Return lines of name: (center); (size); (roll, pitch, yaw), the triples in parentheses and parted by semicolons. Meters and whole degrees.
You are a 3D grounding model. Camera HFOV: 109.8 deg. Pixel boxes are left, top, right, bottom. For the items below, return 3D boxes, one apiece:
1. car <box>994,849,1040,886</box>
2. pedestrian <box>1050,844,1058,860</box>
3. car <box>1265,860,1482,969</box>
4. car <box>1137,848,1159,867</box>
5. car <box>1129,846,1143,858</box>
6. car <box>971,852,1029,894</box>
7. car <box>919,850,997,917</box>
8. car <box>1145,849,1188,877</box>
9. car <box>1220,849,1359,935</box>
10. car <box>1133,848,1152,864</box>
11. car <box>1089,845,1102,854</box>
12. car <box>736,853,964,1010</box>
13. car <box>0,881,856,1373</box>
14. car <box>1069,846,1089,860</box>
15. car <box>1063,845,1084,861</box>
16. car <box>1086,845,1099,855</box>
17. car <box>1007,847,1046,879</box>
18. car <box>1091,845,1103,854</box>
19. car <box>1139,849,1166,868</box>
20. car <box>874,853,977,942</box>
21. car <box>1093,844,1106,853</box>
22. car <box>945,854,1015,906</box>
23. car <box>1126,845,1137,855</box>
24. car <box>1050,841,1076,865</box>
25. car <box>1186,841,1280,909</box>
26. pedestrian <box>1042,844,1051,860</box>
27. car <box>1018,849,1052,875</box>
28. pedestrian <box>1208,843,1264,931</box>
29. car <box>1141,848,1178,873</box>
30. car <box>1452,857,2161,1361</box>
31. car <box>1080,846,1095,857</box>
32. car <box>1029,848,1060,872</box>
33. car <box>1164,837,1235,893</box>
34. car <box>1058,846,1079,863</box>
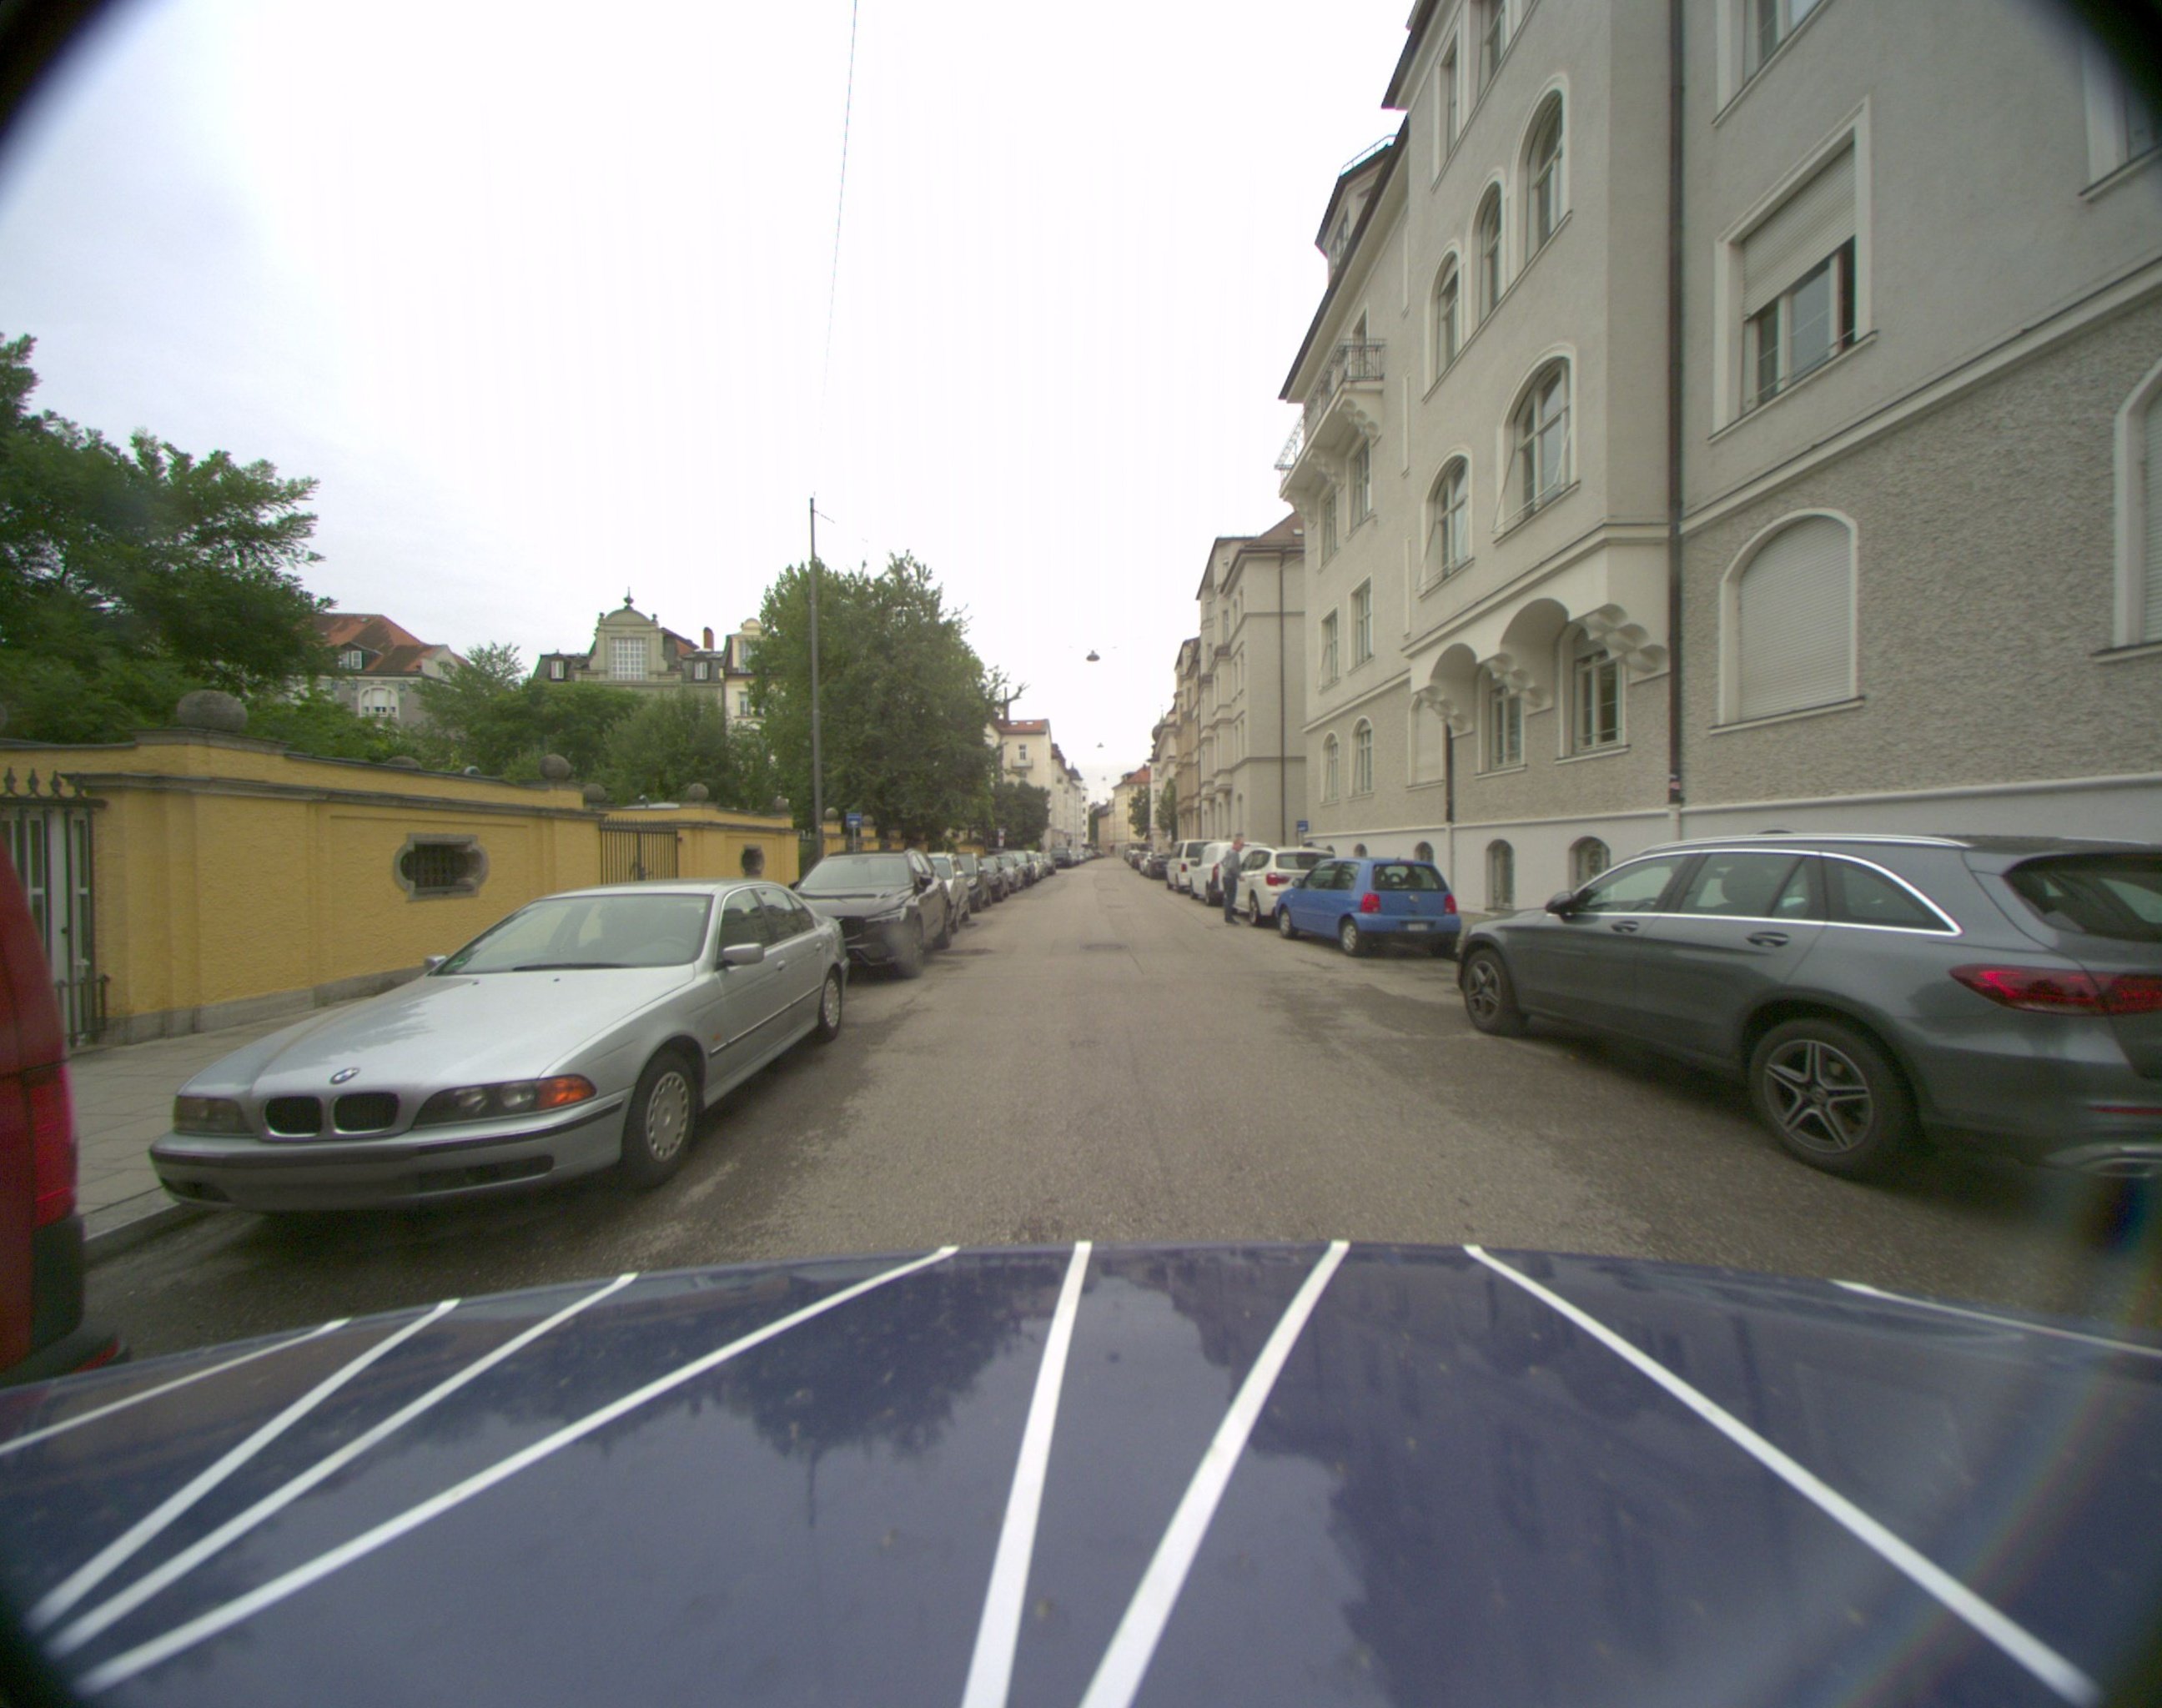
car: (-2.892, 0.567, 35.309); (1.717, 1.562, 4.690); (0, 1, 0)
pedestrian: (-3.020, -0.244, 84.581); (0.876, 1.746, 1.052); (-1, 1, 1)
car: (4.458, 0.843, 12.217); (1.697, 1.406, 3.659); (0, 1, -8)
car: (5.473, 0.244, 62.630); (1.626, 1.448, 3.941); (1, 1, 3)
car: (7.070, -0.309, 98.188); (1.627, 1.522, 3.689); (1, 1, 2)
car: (-3.034, 0.671, 29.278); (1.696, 1.406, 4.515); (0, 1, 1)
car: (-3.209, 0.731, 20.291); (1.511, 1.557, 2.869); (-3, 1, 1)
car: (4.706, 0.475, 42.382); (1.860, 1.404, 4.378); (1, 1, 0)
car: (4.390, 0.717, 16.748); (1.751, 1.593, 4.495); (0, 1, -1)
car: (5.529, 0.143, 68.175); (1.626, 1.421, 3.941); (1, 1, 4)
car: (2.835, -0.870, 145.432); (1.998, 1.672, 4.300); (-4, 0, 5)
car: (-2.974, 0.868, 10.981); (1.889, 1.643, 4.822); (-3, 1, -2)
car: (-2.980, 1.040, 4.887); (1.889, 1.440, 4.367); (-3, 1, -3)
car: (-0.214, -0.142, 95.197); (1.998, 1.585, 4.299); (-4, 0, 4)
car: (-0.795, -0.094, 82.998); (1.998, 1.585, 4.298); (-4, 0, 1)
car: (2.176, -0.765, 140.321); (1.998, 1.585, 4.299); (-4, 0, 4)
car: (-2.820, 0.430, 40.413); (1.717, 1.562, 4.319); (0, 1, 0)
car: (3.278, -0.938, 150.853); (1.998, 1.585, 4.429); (-4, 0, 5)
car: (5.411, 0.311, 57.704); (1.809, 1.355, 3.730); (1, 1, 3)
car: (-3.122, 0.801, 15.862); (1.488, 1.531, 3.691); (-3, 1, -3)
car: (3.835, -1.145, 155.705); (1.997, 1.585, 4.301); (-4, 0, 7)
car: (-3.144, 0.760, 24.292); (1.696, 1.406, 4.035); (-3, 1, -1)
car: (8.347, -0.649, 124.778); (1.627, 1.522, 3.920); (1, 1, 2)
car: (-1.569, -0.060, 67.872); (1.998, 1.949, 4.433); (-4, 0, 0)
car: (4.392, 0.525, 22.697); (1.751, 1.778, 5.035); (1, 1, 0)
pedestrian: (-3.881, -0.229, 84.666); (0.876, 1.680, 1.052); (-1, 1, 1)
car: (-2.686, 0.460, 45.325); (1.717, 1.445, 4.183); (0, 1, 0)
pedestrian: (3.166, 0.650, 15.578); (0.963, 1.746, 0.876); (-1, 1, 2)
car: (4.824, 0.398, 47.438); (1.860, 1.455, 4.378); (1, 1, 0)
car: (4.347, 0.857, 4.757); (1.751, 1.593, 4.495); (0, 1, -1)
car: (0.991, -0.424, 120.026); (1.998, 1.585, 4.299); (-4, 0, 4)
car: (-2.352, 0.353, 50.067); (1.717, 1.445, 4.954); (0, 1, 0)
car: (4.392, 0.357, 28.855); (1.861, 1.927, 4.956); (1, 1, 0)
car: (-1.256, 0.042, 78.055); (1.998, 1.643, 4.448); (-4, 0, 0)
